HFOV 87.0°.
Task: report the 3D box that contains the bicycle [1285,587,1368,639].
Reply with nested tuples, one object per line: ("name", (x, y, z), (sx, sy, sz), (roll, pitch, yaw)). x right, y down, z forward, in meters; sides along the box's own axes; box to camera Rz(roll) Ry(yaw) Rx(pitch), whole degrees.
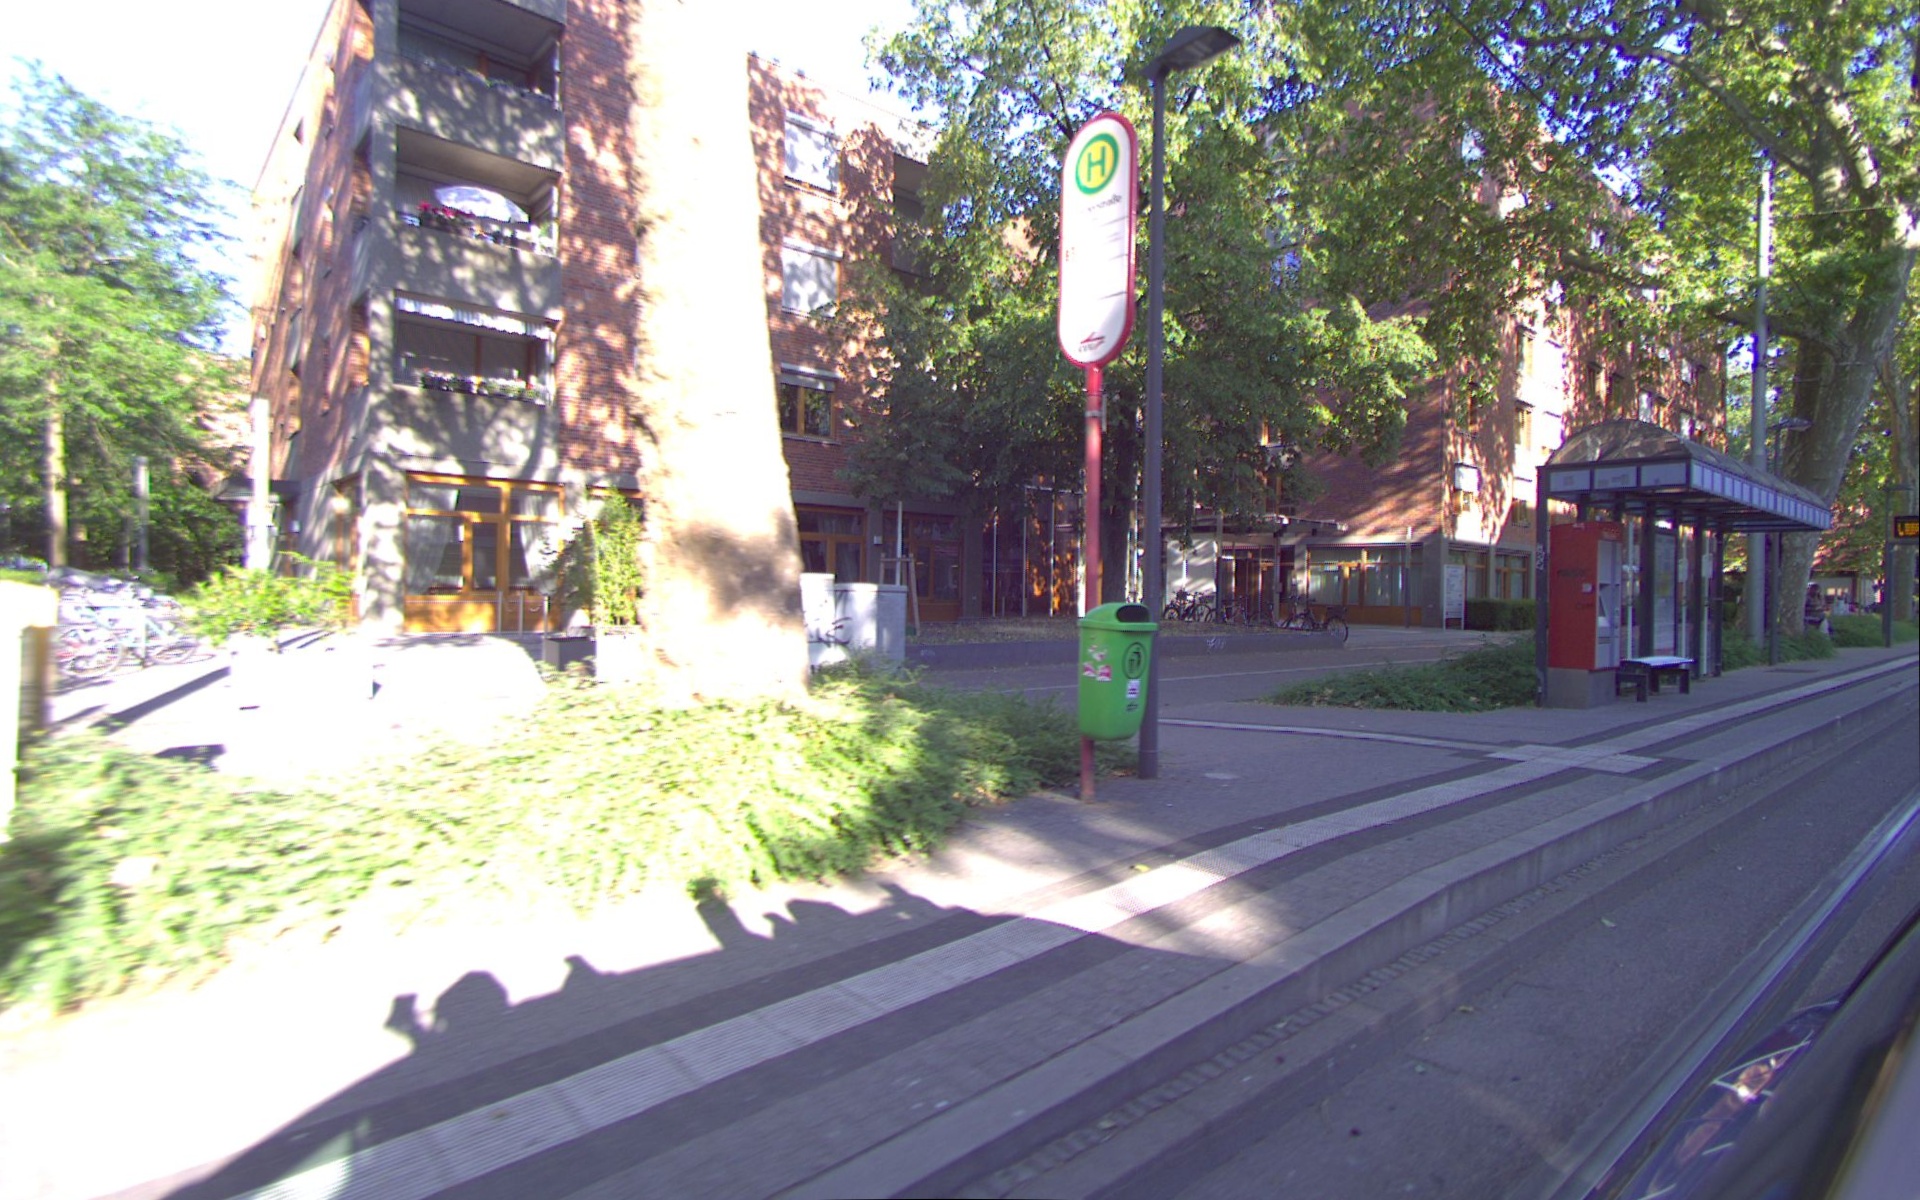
("bicycle", (9.239, 0.309, 25.608), (0.561, 1.171, 2.040), (1, 3, -30))

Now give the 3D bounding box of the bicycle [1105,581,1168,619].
("bicycle", (5.713, -0.009, 32.764), (1.997, 1.171, 0.709), (0, 2, -32))

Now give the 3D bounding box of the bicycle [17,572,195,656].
("bicycle", (-12.840, 0.185, 15.285), (2.015, 1.171, 0.732), (0, 3, -41))

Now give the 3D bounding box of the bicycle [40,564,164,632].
("bicycle", (-15.777, -0.053, 18.651), (0.561, 1.171, 1.675), (3, 3, 38))

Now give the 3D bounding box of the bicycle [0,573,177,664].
("bicycle", (-12.176, 0.236, 14.147), (1.946, 1.171, 0.638), (0, 3, -39))

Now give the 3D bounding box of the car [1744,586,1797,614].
("car", (46.313, -0.024, 57.813), (3.892, 1.527, 1.656), (0, 1, -41))

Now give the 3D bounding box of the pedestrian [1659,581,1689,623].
("pedestrian", (29.308, 0.071, 41.544), (0.901, 1.680, 0.768), (0, 1, -41))

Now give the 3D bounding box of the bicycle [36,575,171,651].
("bicycle", (-14.044, 0.195, 16.631), (1.669, 1.171, 0.662), (0, 3, -42))

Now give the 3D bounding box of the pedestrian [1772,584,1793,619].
("pedestrian", (41.104, 0.085, 50.578), (0.736, 1.712, 0.710), (0, 1, -43))

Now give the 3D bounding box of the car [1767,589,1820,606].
("car", (81.018, -0.237, 98.400), (1.964, 1.549, 3.674), (0, 1, -40))

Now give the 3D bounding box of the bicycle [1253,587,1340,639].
("bicycle", (8.379, 0.301, 25.288), (0.562, 1.171, 2.036), (0, 3, -40))

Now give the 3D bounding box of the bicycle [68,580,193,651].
("bicycle", (-14.686, 0.251, 17.943), (0.563, 1.171, 1.671), (3, 3, 44))

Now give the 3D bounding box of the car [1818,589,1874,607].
("car", (83.518, -0.220, 95.401), (1.964, 1.549, 3.674), (0, 1, -40))

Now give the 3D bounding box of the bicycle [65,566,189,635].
("bicycle", (-15.127, -0.008, 18.408), (0.519, 1.171, 1.674), (3, 3, 38))

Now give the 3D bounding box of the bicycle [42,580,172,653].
("bicycle", (-14.485, 0.260, 17.214), (1.669, 1.171, 0.662), (0, 3, -42))

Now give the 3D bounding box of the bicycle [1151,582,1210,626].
("bicycle", (6.320, 0.106, 29.023), (0.561, 1.171, 1.684), (0, 3, -35))

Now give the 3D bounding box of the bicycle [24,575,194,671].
("bicycle", (-11.198, 0.276, 13.349), (0.600, 1.171, 1.671), (4, 3, 44))

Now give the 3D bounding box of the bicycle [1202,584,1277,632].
("bicycle", (7.555, 0.194, 27.492), (0.561, 1.171, 2.038), (0, 3, -35))

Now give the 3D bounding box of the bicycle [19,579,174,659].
("bicycle", (-13.552, 0.267, 15.928), (1.819, 1.171, 0.662), (0, 3, -42))

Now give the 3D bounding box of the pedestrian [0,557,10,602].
("pedestrian", (-34.886, -0.735, 36.606), (0.643, 1.605, 0.772), (0, 1, -36))

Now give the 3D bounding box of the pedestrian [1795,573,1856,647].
("pedestrian", (20.164, 0.215, 23.594), (0.759, 1.680, 0.911), (1, 1, 19))

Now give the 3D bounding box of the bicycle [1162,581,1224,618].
("bicycle", (7.941, -0.023, 34.482), (1.929, 1.171, 0.727), (3, 2, 24))

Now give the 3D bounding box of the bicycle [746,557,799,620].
("bicycle", (-3.757, -0.257, 20.159), (0.560, 1.171, 1.939), (1, 2, -25))

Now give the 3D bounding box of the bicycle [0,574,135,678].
("bicycle", (-10.913, 0.293, 12.055), (1.667, 1.171, 0.601), (0, 3, -38))
